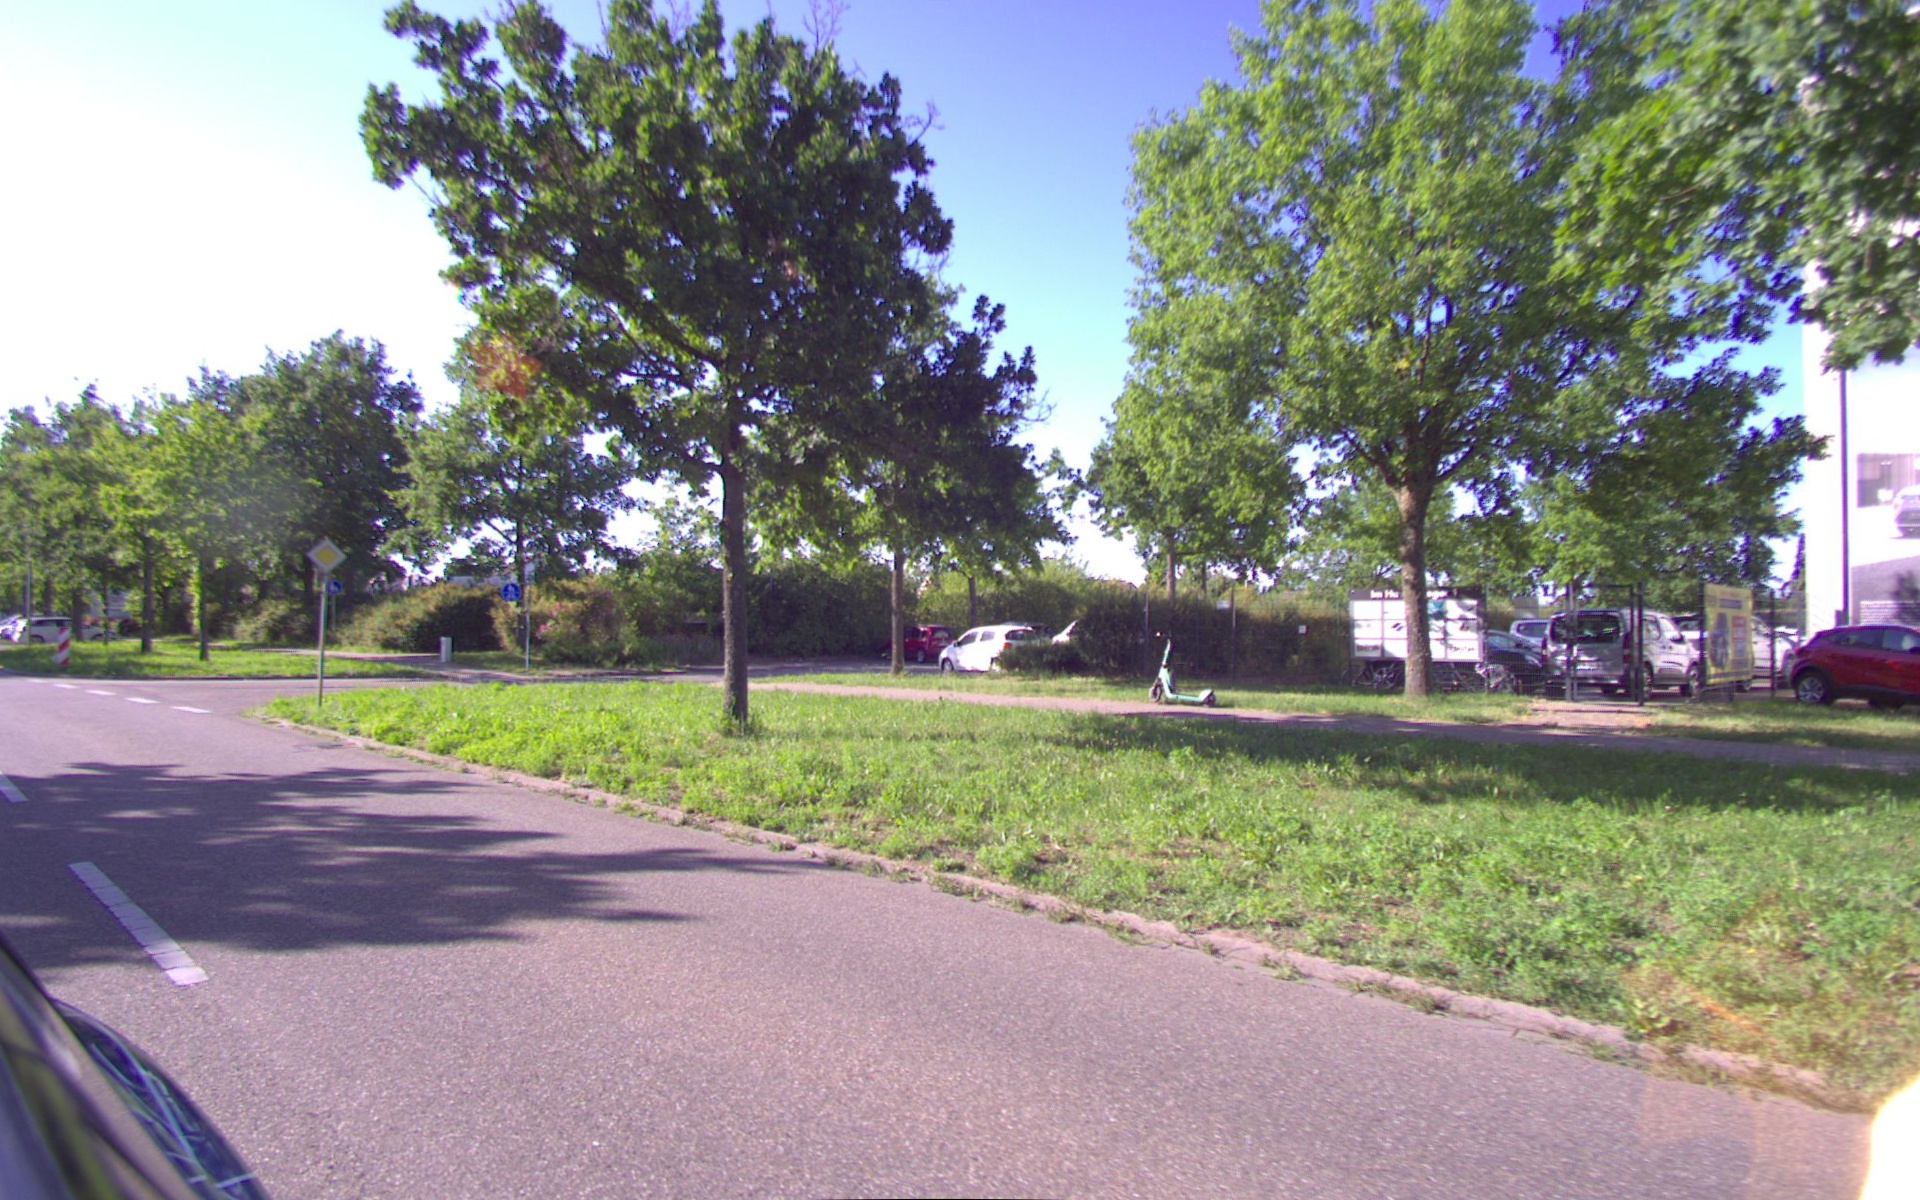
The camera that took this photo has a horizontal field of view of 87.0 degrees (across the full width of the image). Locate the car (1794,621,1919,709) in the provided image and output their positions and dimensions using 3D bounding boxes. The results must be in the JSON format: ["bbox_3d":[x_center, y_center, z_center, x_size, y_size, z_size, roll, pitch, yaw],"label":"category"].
[{"bbox_3d":[16.811,1.089,17.139,1.773,1.459,4.005,0,-2,-6],"label":"car"}]

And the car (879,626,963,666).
[{"bbox_3d":[-1.678,1.882,42.119,1.776,1.516,3.560,1,-1,-37],"label":"car"}]

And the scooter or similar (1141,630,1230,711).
[{"bbox_3d":[3.695,1.134,16.660,1.441,1.289,0.390,-1,-2,43],"label":"scooter or similar"}]

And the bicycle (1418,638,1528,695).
[{"bbox_3d":[10.368,1.321,20.506,1.890,1.096,0.632,-1,-2,41],"label":"bicycle"}]

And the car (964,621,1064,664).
[{"bbox_3d":[2.334,1.869,45.303,1.966,1.798,4.896,1,-2,-33],"label":"car"}]

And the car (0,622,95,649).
[{"bbox_3d":[-56.641,2.178,62.740,2.088,1.522,4.364,-2,-1,43],"label":"car"}]

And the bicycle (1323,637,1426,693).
[{"bbox_3d":[8.645,1.332,21.137,1.890,1.096,0.632,-1,-2,41],"label":"bicycle"}]

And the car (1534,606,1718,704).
[{"bbox_3d":[14.035,1.077,21.271,3.965,1.797,2.030,-1,-1,-38],"label":"car"}]

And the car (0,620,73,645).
[{"bbox_3d":[-64.149,2.230,69.774,4.362,1.568,2.089,0,-1,-45],"label":"car"}]

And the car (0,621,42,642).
[{"bbox_3d":[-79.055,2.648,84.109,4.015,1.655,1.877,0,-1,-44],"label":"car"}]

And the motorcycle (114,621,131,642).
[{"bbox_3d":[-60.575,2.257,73.197,1.992,1.443,0.729,-1,1,45],"label":"motorcycle"}]

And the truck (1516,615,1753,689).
[{"bbox_3d":[18.577,1.385,28.086,5.185,1.856,2.003,-2,-3,45],"label":"truck"}]

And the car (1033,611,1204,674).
[{"bbox_3d":[5.046,1.446,33.046,2.270,1.831,5.453,1,-4,-37],"label":"car"}]

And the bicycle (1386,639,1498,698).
[{"bbox_3d":[9.491,1.328,19.968,1.890,1.096,0.632,-1,-2,41],"label":"bicycle"}]

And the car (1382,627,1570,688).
[{"bbox_3d":[13.260,1.432,26.155,4.002,1.459,1.775,-2,-3,45],"label":"car"}]

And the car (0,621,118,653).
[{"bbox_3d":[-49.063,1.997,55.180,2.189,1.570,4.580,-2,-1,40],"label":"car"}]

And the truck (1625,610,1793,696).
[{"bbox_3d":[18.027,1.192,24.297,4.614,1.797,2.030,-1,-1,-38],"label":"truck"}]

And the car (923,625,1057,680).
[{"bbox_3d":[0.834,1.599,30.344,1.967,1.516,3.925,1,-4,-37],"label":"car"}]

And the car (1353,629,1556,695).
[{"bbox_3d":[11.742,1.417,24.184,1.774,1.459,4.003,2,-3,-44],"label":"car"}]
